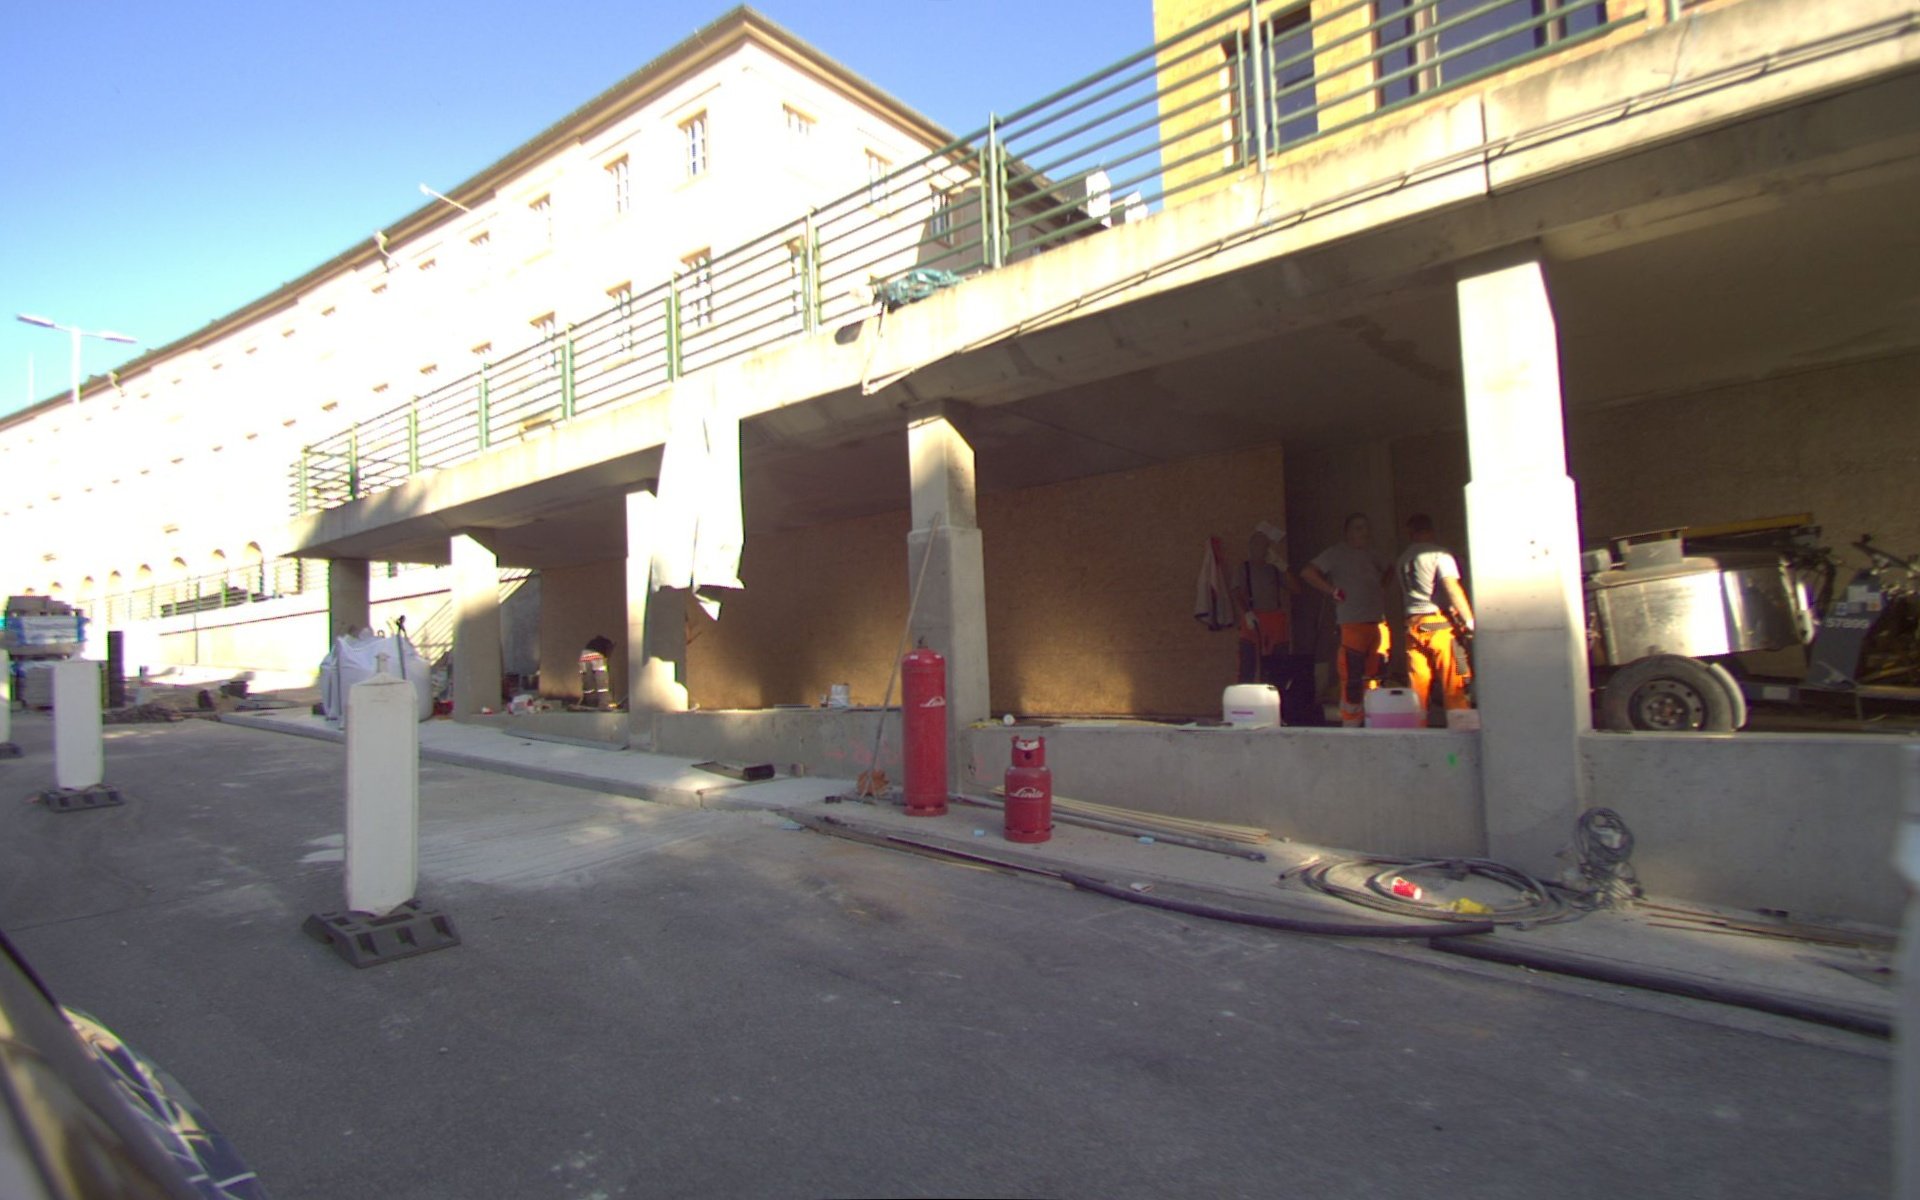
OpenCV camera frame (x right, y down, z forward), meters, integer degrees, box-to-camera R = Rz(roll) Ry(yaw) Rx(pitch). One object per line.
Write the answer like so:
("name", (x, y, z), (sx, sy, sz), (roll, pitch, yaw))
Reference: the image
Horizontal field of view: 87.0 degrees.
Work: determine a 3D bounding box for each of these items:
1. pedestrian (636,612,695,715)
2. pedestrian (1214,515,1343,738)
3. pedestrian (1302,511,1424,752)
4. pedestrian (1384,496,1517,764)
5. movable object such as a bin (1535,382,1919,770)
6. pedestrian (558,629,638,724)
("pedestrian", (-4.674, 0.997, 16.087), (0.628, 1.592, 0.644), (-1, -2, 31))
("pedestrian", (2.989, 0.243, 9.517), (0.936, 1.971, 0.670), (-2, -1, 40))
("pedestrian", (3.254, 0.243, 8.165), (0.709, 1.828, 0.697), (-2, -1, 38))
("pedestrian", (3.546, 0.205, 7.320), (0.649, 1.818, 0.625), (0, -1, -42))
("movable object such as a bin", (5.417, -0.115, 6.052), (3.154, 2.002, 1.867), (-2, -2, 38))
("pedestrian", (-5.560, 1.147, 15.566), (0.780, 1.409, 0.865), (-1, -2, 31))
